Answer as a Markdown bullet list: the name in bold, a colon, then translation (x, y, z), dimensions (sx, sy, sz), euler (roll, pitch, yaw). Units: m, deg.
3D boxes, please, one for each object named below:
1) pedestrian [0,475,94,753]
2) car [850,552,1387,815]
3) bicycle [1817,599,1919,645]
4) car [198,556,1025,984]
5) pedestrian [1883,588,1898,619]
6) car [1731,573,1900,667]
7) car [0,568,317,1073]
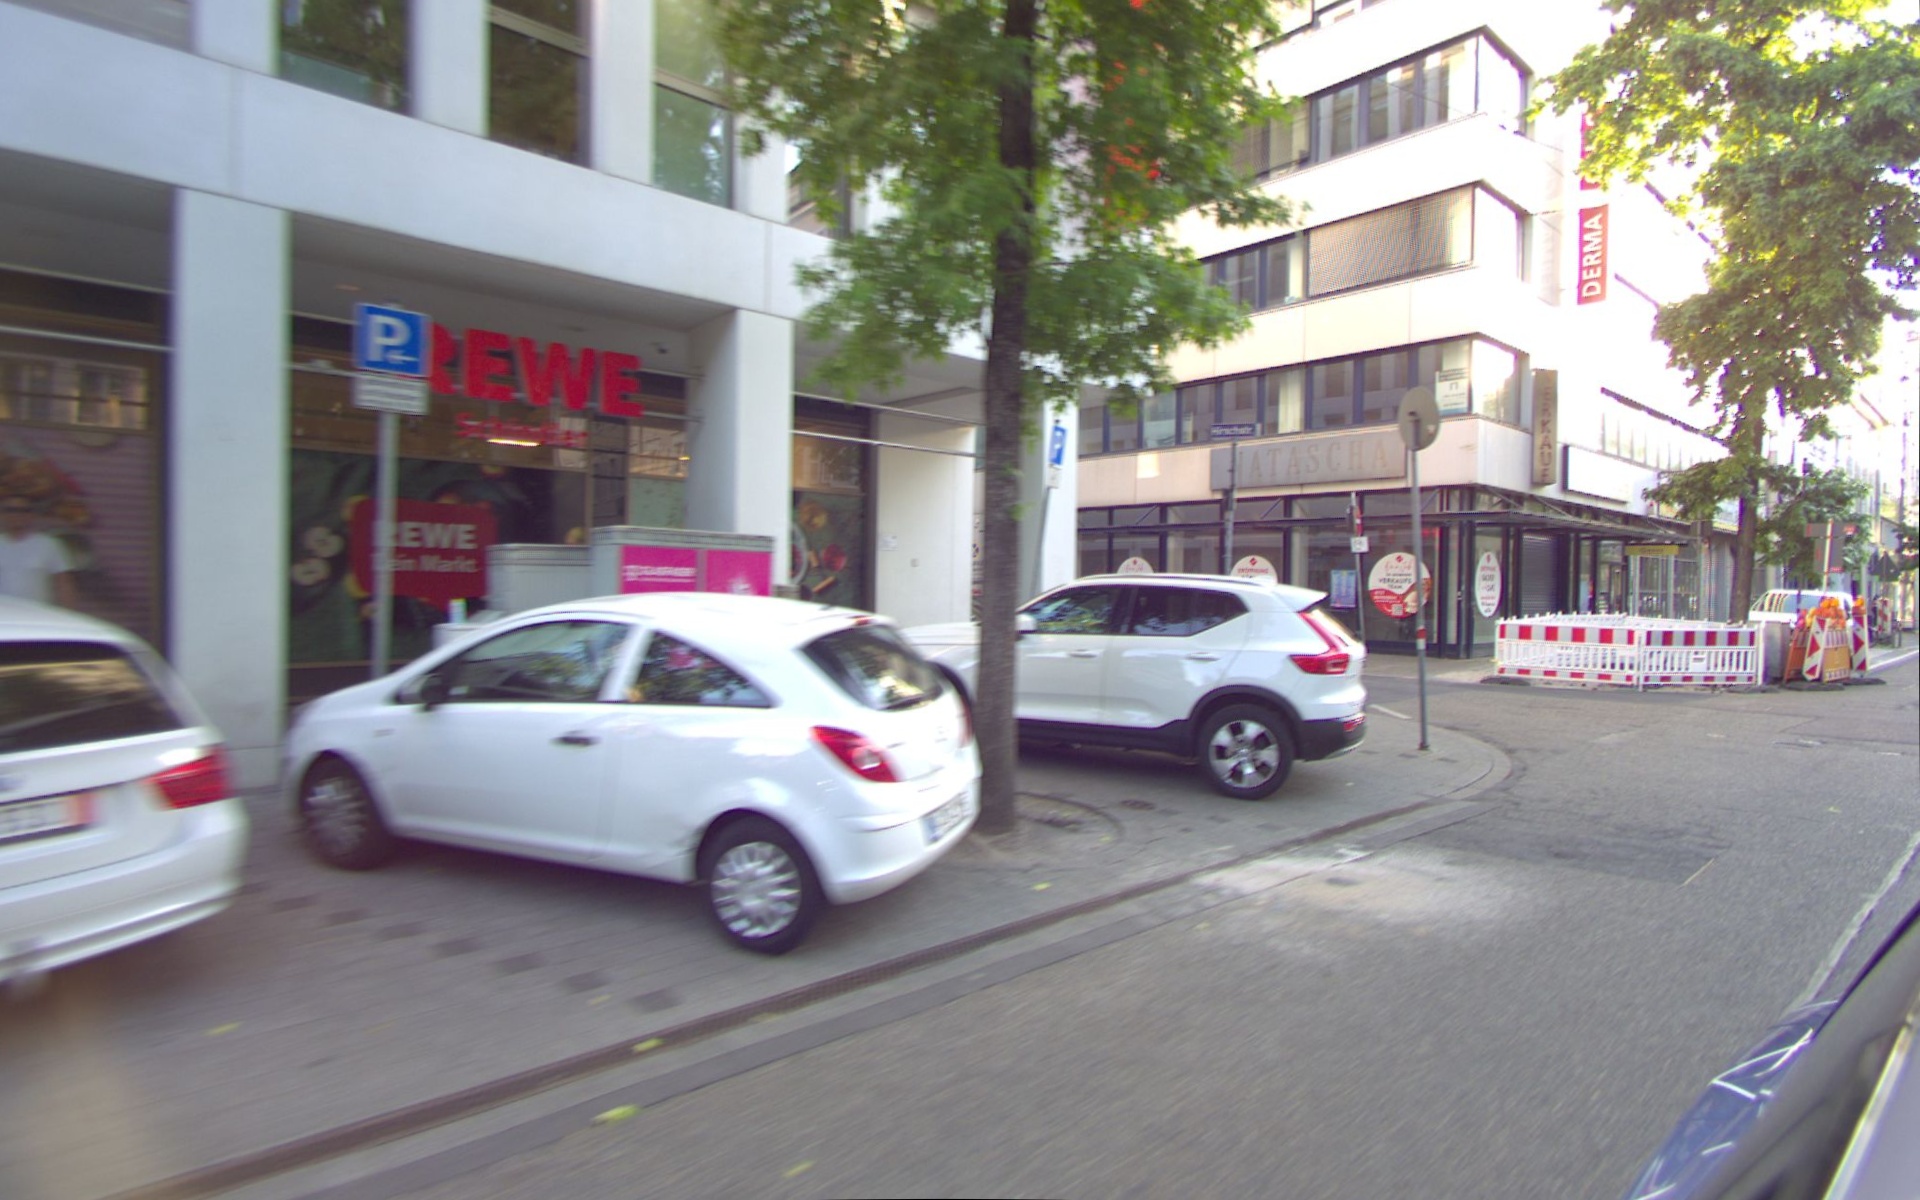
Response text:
- **pedestrian**: translation (-6.799, 0.096, 7.378), dimensions (0.670, 1.920, 0.804), euler (2, -1, -40)
- **car**: translation (1.367, 0.501, 8.823), dimensions (4.228, 1.692, 1.936), euler (3, 4, 25)
- **bicycle**: translation (27.464, 0.647, 30.639), dimensions (0.747, 1.172, 2.167), euler (-1, 4, -35)
- **car**: translation (-1.838, 0.599, 5.469), dimensions (4.018, 1.519, 1.785), euler (3, 3, 20)
- **pedestrian**: translation (47.644, 0.164, 51.817), dimensions (0.735, 1.575, 0.477), euler (-1, 2, -41)
- **car**: translation (19.112, 0.388, 22.547), dimensions (4.586, 1.792, 1.999), euler (0, 3, -39)
- **car**: translation (-4.825, 0.611, 4.132), dimensions (4.310, 1.440, 1.812), euler (4, 3, 27)
